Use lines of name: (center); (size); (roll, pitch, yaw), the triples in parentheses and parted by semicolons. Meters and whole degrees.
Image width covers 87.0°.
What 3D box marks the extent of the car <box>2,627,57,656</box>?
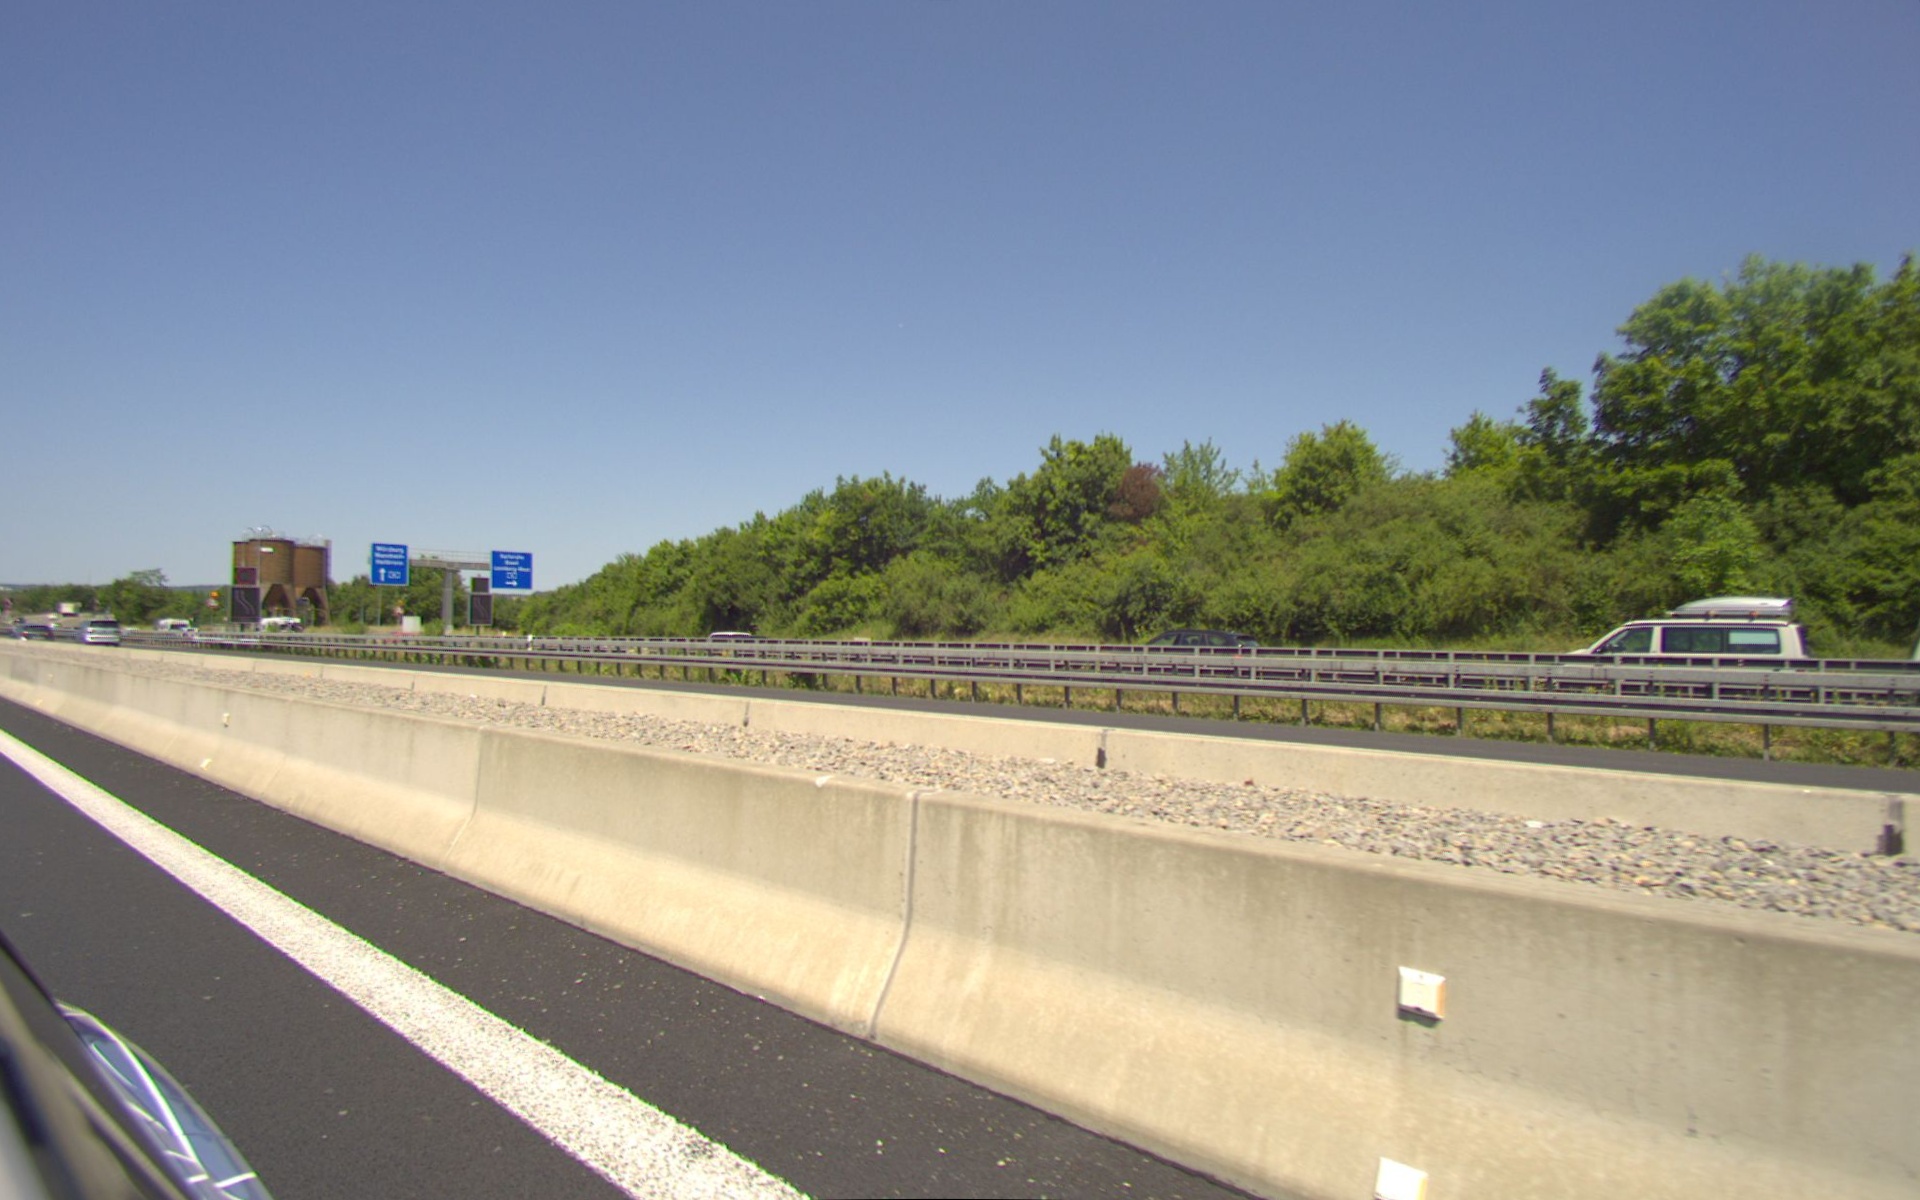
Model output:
car: (-54.494, 2.429, 59.229); (4.303, 1.608, 1.776); (-2, -2, 40)

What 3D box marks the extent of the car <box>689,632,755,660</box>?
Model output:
car: (-15.560, 2.963, 66.038); (1.970, 1.589, 4.998); (-1, 0, -42)

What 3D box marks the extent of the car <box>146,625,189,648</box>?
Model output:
car: (-91.010, 4.200, 116.160); (5.960, 2.521, 2.767); (-2, -3, 41)

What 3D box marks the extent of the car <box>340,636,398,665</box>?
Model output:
car: (-36.246, 3.084, 61.999); (3.999, 1.589, 1.972); (-1, 0, 42)

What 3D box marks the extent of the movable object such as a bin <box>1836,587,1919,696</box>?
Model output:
movable object such as a bin: (20.340, 0.740, 18.267); (6.775, 2.029, 2.482); (-1, 0, 40)

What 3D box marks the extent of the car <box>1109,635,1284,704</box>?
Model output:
car: (6.001, 1.708, 25.884); (3.998, 1.521, 1.775); (-1, 0, 41)

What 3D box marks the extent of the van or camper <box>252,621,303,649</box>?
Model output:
van or camper: (-60.593, 3.070, 89.791); (6.964, 2.272, 2.085); (-1, 0, 41)

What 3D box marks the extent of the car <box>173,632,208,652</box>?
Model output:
car: (-73.704, 3.987, 96.914); (4.450, 1.741, 1.776); (-1, 0, 40)

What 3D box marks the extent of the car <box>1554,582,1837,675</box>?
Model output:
car: (15.906, 0.621, 22.120); (4.812, 1.820, 1.974); (-1, -3, 39)

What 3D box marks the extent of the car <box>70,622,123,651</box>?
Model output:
car: (-58.290, 2.474, 68.254); (5.083, 1.856, 1.972); (-1, -4, 42)
